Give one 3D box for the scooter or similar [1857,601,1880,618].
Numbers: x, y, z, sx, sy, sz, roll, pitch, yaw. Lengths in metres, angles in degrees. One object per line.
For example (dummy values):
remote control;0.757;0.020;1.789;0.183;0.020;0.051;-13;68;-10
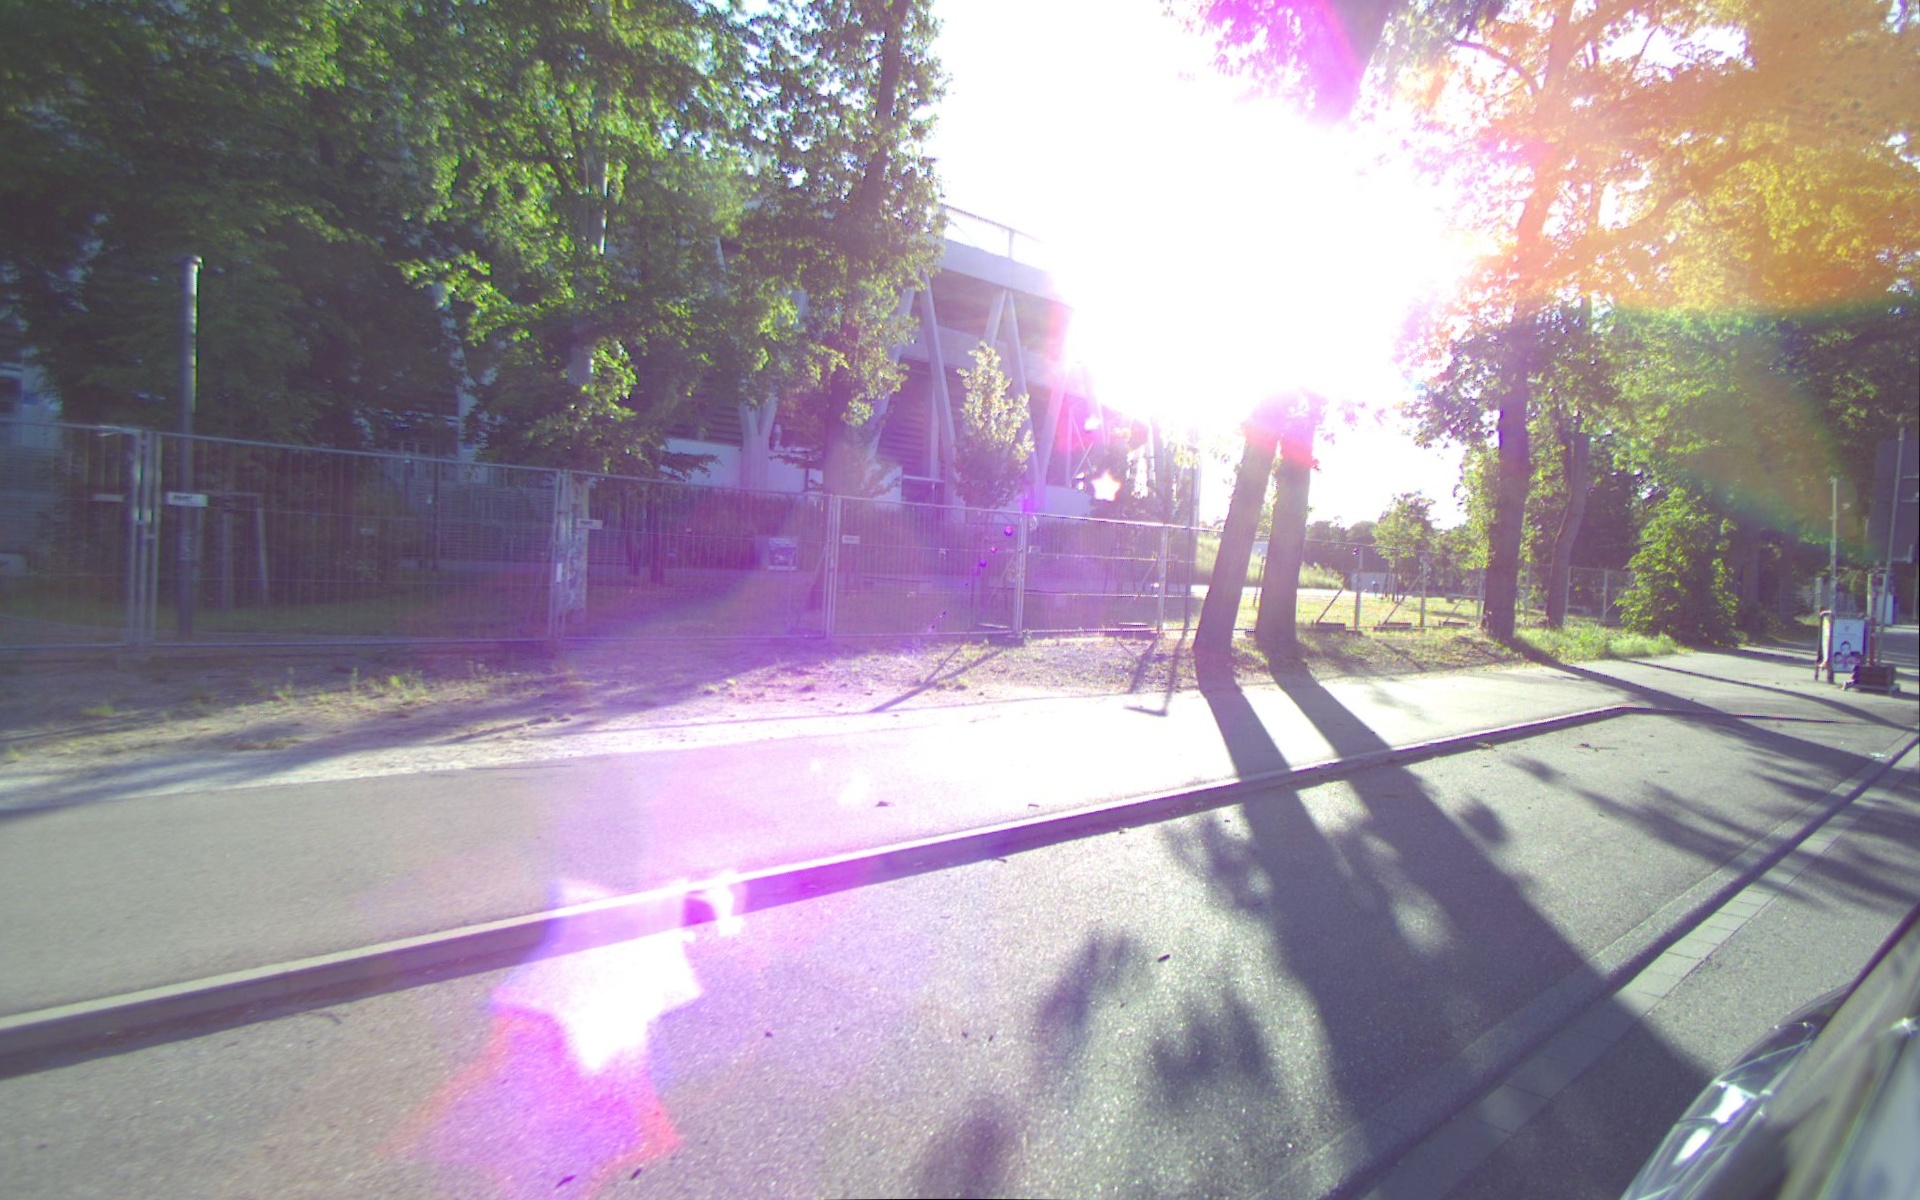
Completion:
scooter or similar;69.931;0.701;77.881;1.281;1.252;0.334;3;1;12
